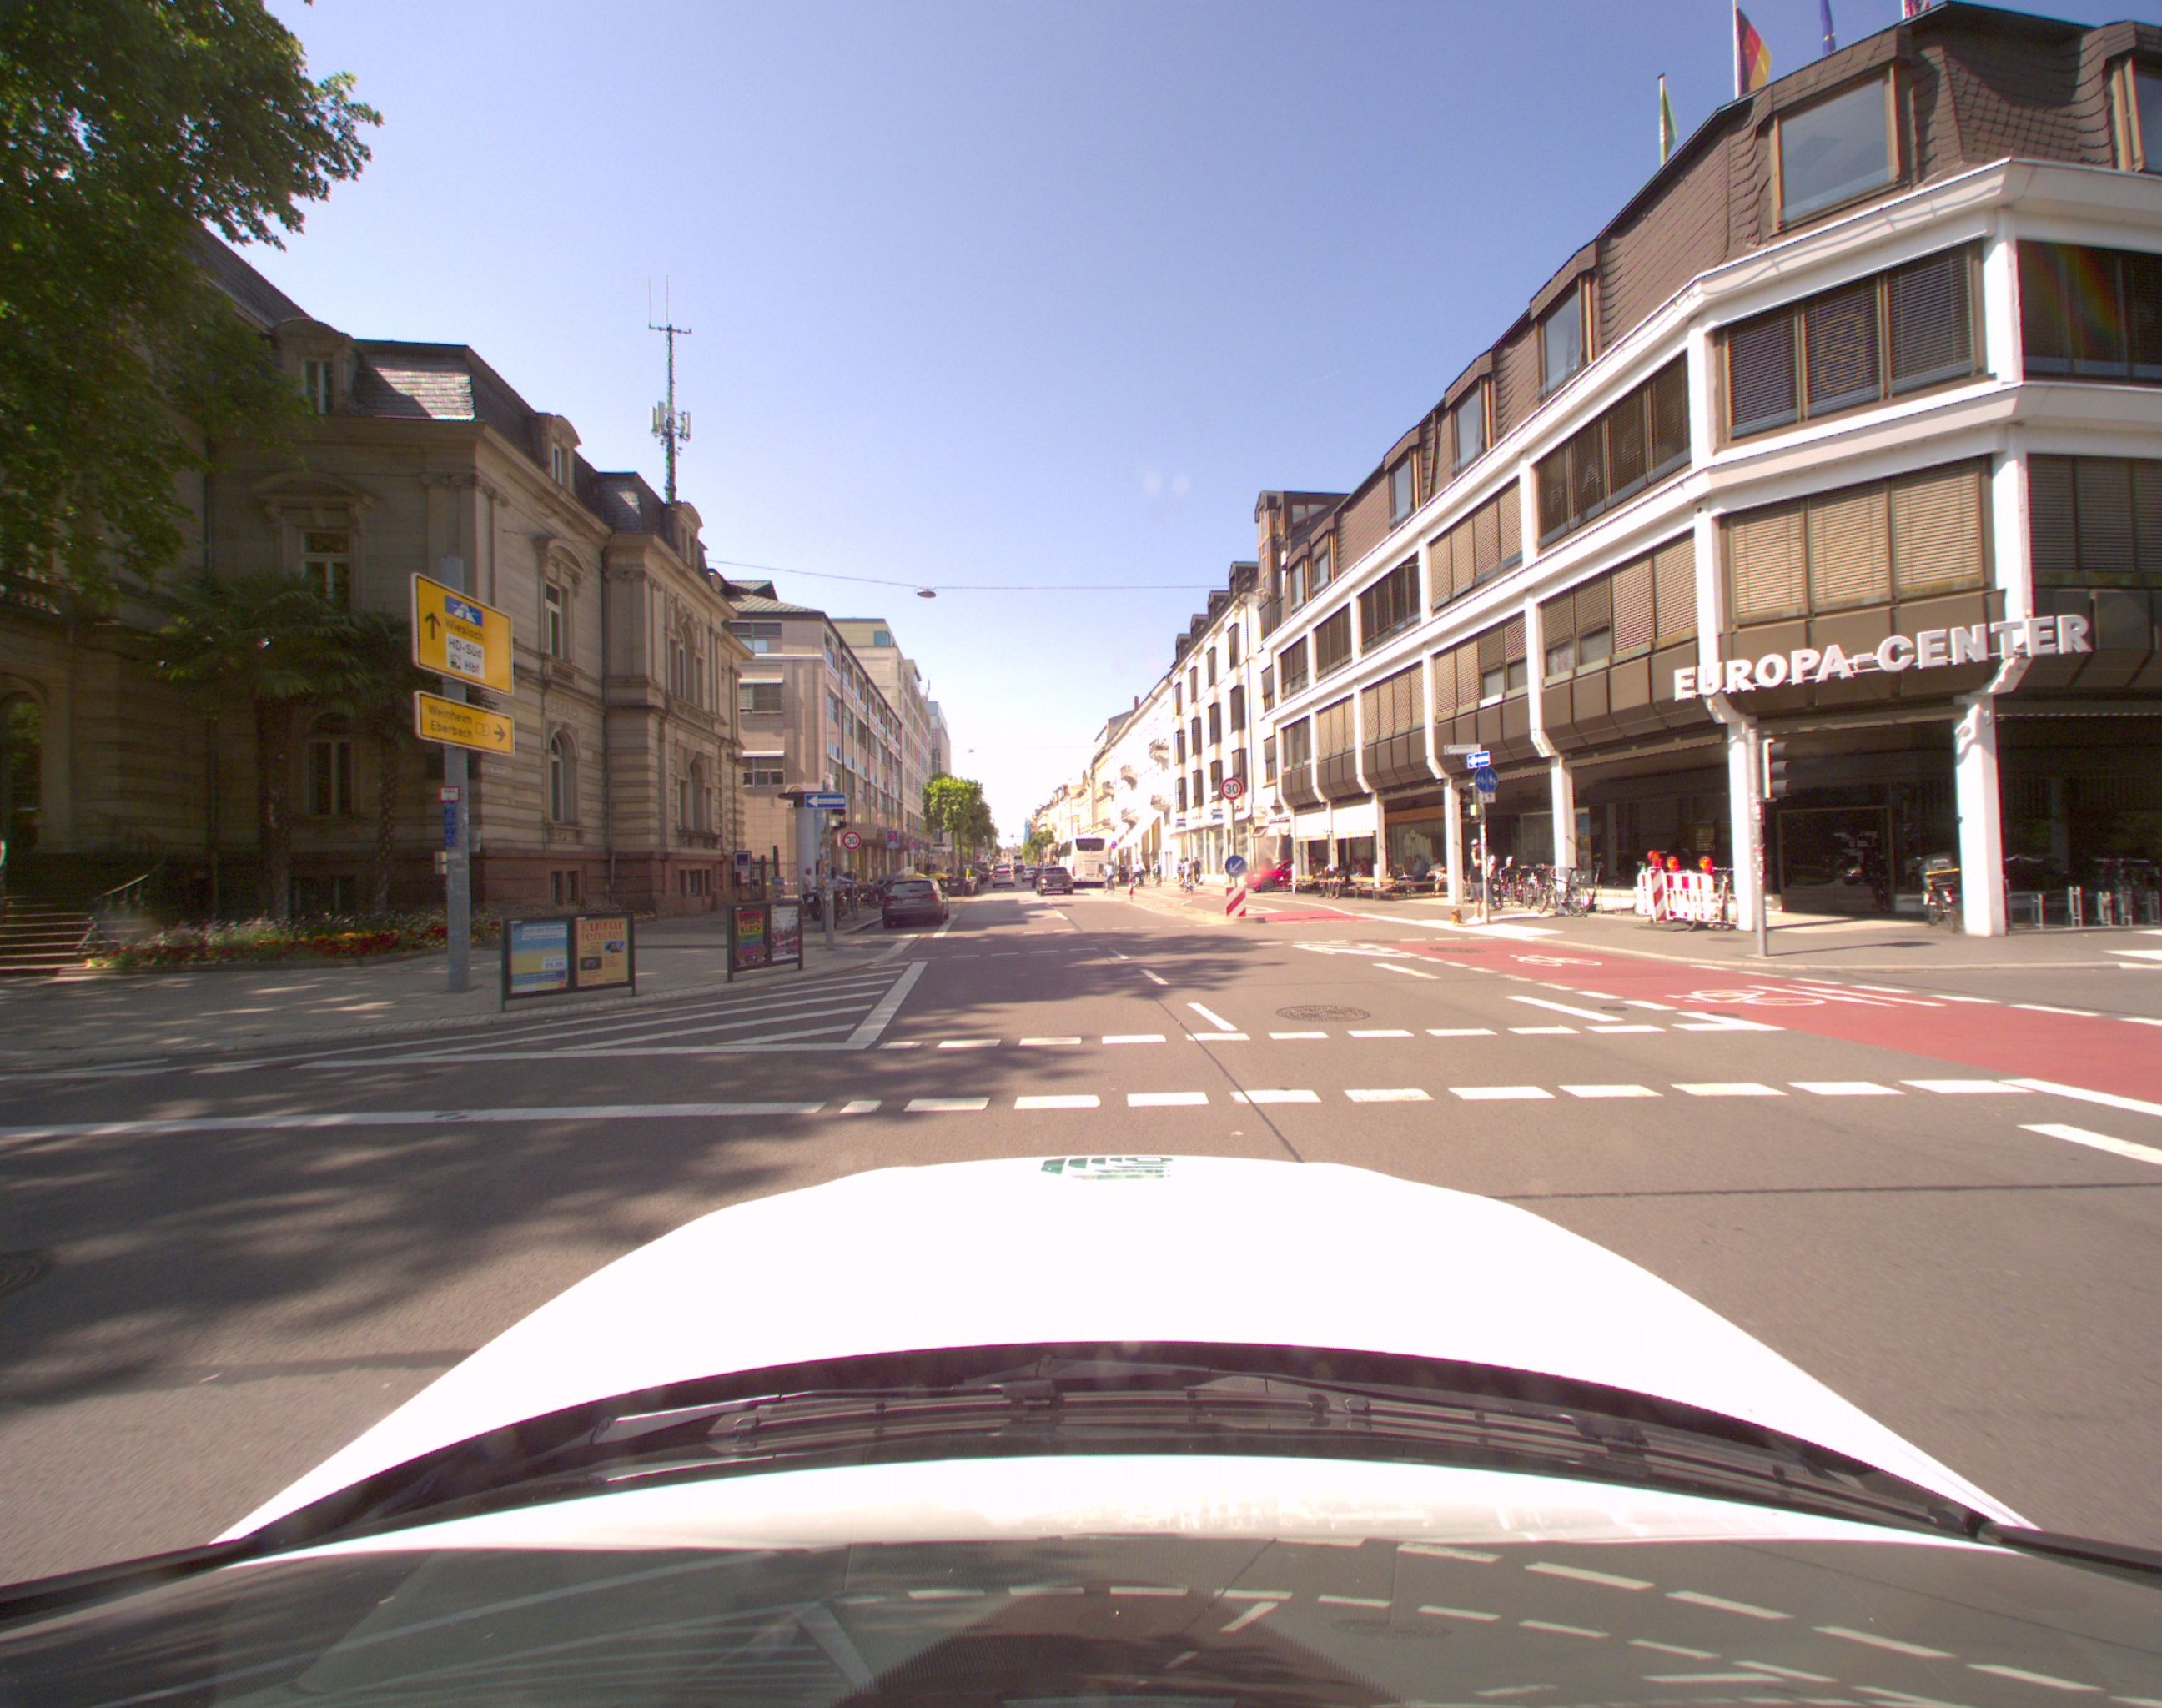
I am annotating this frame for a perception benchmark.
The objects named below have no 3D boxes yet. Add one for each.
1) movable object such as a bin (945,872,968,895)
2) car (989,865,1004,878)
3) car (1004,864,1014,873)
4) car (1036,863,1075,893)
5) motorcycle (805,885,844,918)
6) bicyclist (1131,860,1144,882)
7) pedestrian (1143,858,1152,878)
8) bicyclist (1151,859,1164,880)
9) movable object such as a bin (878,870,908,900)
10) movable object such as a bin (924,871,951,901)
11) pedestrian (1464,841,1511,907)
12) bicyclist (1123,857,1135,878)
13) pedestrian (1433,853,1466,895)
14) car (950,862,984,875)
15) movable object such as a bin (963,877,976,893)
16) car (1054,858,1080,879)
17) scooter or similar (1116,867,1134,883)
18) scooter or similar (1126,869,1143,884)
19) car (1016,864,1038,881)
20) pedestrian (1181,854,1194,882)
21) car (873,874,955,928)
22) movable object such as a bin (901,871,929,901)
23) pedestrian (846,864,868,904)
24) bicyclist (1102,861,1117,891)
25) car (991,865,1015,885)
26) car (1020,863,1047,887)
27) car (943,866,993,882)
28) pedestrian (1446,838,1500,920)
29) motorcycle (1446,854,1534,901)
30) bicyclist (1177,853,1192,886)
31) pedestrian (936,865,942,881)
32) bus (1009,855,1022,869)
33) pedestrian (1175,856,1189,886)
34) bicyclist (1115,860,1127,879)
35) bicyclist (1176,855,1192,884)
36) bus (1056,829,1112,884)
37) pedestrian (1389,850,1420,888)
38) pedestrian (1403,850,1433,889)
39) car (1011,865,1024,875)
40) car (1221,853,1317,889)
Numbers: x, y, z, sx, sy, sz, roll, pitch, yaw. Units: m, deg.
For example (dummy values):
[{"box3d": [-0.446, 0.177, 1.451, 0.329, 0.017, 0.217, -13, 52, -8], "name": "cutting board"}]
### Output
[{"box3d": [-7.332, 1.708, 48.083, 1.275, 1.299, 0.852, -2, -1, -6], "name": "movable object such as a bin"}, {"box3d": [-10.606, 2.203, 102.190, 1.741, 1.441, 3.991, -2, 0, -6], "name": "car"}, {"box3d": [-14.505, 2.926, 164.158, 1.861, 1.441, 3.990, -3, -2, -6], "name": "car"}, {"box3d": [-1.452, 1.305, 44.709, 1.831, 1.527, 3.990, -1, -1, -7], "name": "car"}, {"box3d": [-8.229, 1.510, 26.210, 0.451, 0.998, 2.163, 0, -1, 4], "name": "motorcycle"}, {"box3d": [3.474, 1.046, 50.451, 0.620, 1.371, 0.778, -1, -1, -7], "name": "bicyclist"}, {"box3d": [5.322, 1.114, 65.241, 0.644, 1.617, 0.821, -1, -2, -3], "name": "pedestrian"}, {"box3d": [4.860, 0.993, 51.516, 0.620, 1.296, 0.864, -1, -1, -7], "name": "bicyclist"}, {"box3d": [-9.569, 1.545, 41.438, 1.205, 1.451, 1.364, 0, 0, 0], "name": "movable object such as a bin"}, {"box3d": [-7.281, 1.626, 41.344, 1.120, 1.451, 1.438, 0, 0, 0], "name": "movable object such as a bin"}, {"box3d": [10.697, 0.523, 21.456, 0.829, 1.663, 0.697, -3, -2, 3], "name": "pedestrian"}, {"box3d": [3.244, 0.909, 55.208, 0.620, 1.371, 0.778, -1, -1, -7], "name": "bicyclist"}, {"box3d": [12.619, 0.679, 27.913, 0.710, 1.397, 0.695, -2, -2, -7], "name": "pedestrian"}, {"box3d": [-14.904, 1.872, 106.430, 3.955, 1.568, 1.708, 3, -1, 19], "name": "car"}, {"box3d": [-6.782, 1.909, 49.641, 0.557, 0.939, 0.495, -4, 0, -32], "name": "movable object such as a bin"}, {"box3d": [-1.358, 1.341, 77.459, 1.827, 1.863, 4.340, 0, 0, -9], "name": "car"}, {"box3d": [3.310, 1.557, 60.967, 1.120, 1.102, 1.082, -2, -1, -7], "name": "scooter or similar"}, {"box3d": [3.508, 1.445, 53.582, 0.865, 0.957, 1.209, -1, -1, -8], "name": "scooter or similar"}, {"box3d": [-5.136, 1.771, 77.115, 1.831, 1.527, 3.991, -3, -2, -6], "name": "car"}, {"box3d": [6.617, 0.863, 50.481, 0.691, 1.685, 0.836, -2, -1, 3], "name": "pedestrian"}, {"box3d": [-5.085, 1.386, 25.351, 1.933, 1.354, 4.243, -2, 0, -4], "name": "car"}, {"box3d": [-8.406, 1.593, 41.328, 1.120, 1.451, 1.438, 0, 0, 0], "name": "movable object such as a bin"}, {"box3d": [-10.071, 1.344, 36.653, 0.890, 1.725, 0.745, -1, -1, -13], "name": "pedestrian"}, {"box3d": [1.589, 1.226, 45.549, 0.693, 1.673, 0.914, 0, 0, -5], "name": "bicyclist"}, {"box3d": [-6.292, 1.727, 65.118, 1.861, 1.441, 3.990, 0, -3, -7], "name": "car"}, {"box3d": [-3.430, 1.512, 58.320, 1.830, 1.527, 3.993, -3, -2, -4], "name": "car"}, {"box3d": [-11.008, 1.898, 79.008, 4.735, 1.422, 1.895, 0, 0, 34], "name": "car"}, {"box3d": [9.015, 0.572, 18.748, 0.829, 1.836, 0.697, -2, -2, 3], "name": "pedestrian"}, {"box3d": [12.107, 0.706, 24.192, 2.216, 1.290, 0.954, -3, -2, 22], "name": "motorcycle"}, {"box3d": [5.213, 0.764, 41.054, 0.691, 1.625, 0.836, -3, -1, 5], "name": "bicyclist"}, {"box3d": [-14.886, 1.998, 85.227, 0.566, 1.657, 0.634, -1, -1, -13], "name": "pedestrian"}, {"box3d": [-17.531, 2.216, 218.165, 2.769, 3.605, 8.946, -2, 0, -9], "name": "bus"}, {"box3d": [5.932, 1.002, 47.988, 0.619, 1.720, 0.834, -2, -2, -3], "name": "pedestrian"}, {"box3d": [3.106, 1.183, 62.618, 0.786, 1.379, 0.721, -1, -1, -8], "name": "bicyclist"}, {"box3d": [5.529, 0.809, 43.772, 0.620, 1.529, 0.867, -1, -1, -7], "name": "bicyclist"}, {"box3d": [0.017, 0.231, 61.644, 2.878, 3.742, 12.396, 0, -1, -7], "name": "bus"}, {"box3d": [12.253, 0.558, 30.840, 0.812, 1.396, 0.695, -2, -2, -8], "name": "pedestrian"}, {"box3d": [12.402, 0.580, 30.009, 0.710, 1.397, 0.695, -2, -2, -7], "name": "pedestrian"}, {"box3d": [-9.771, 2.445, 125.214, 1.861, 1.441, 3.991, -2, 0, -6], "name": "car"}, {"box3d": [8.843, 0.833, 38.548, 4.037, 1.495, 1.838, -2, -3, -5], "name": "car"}]
